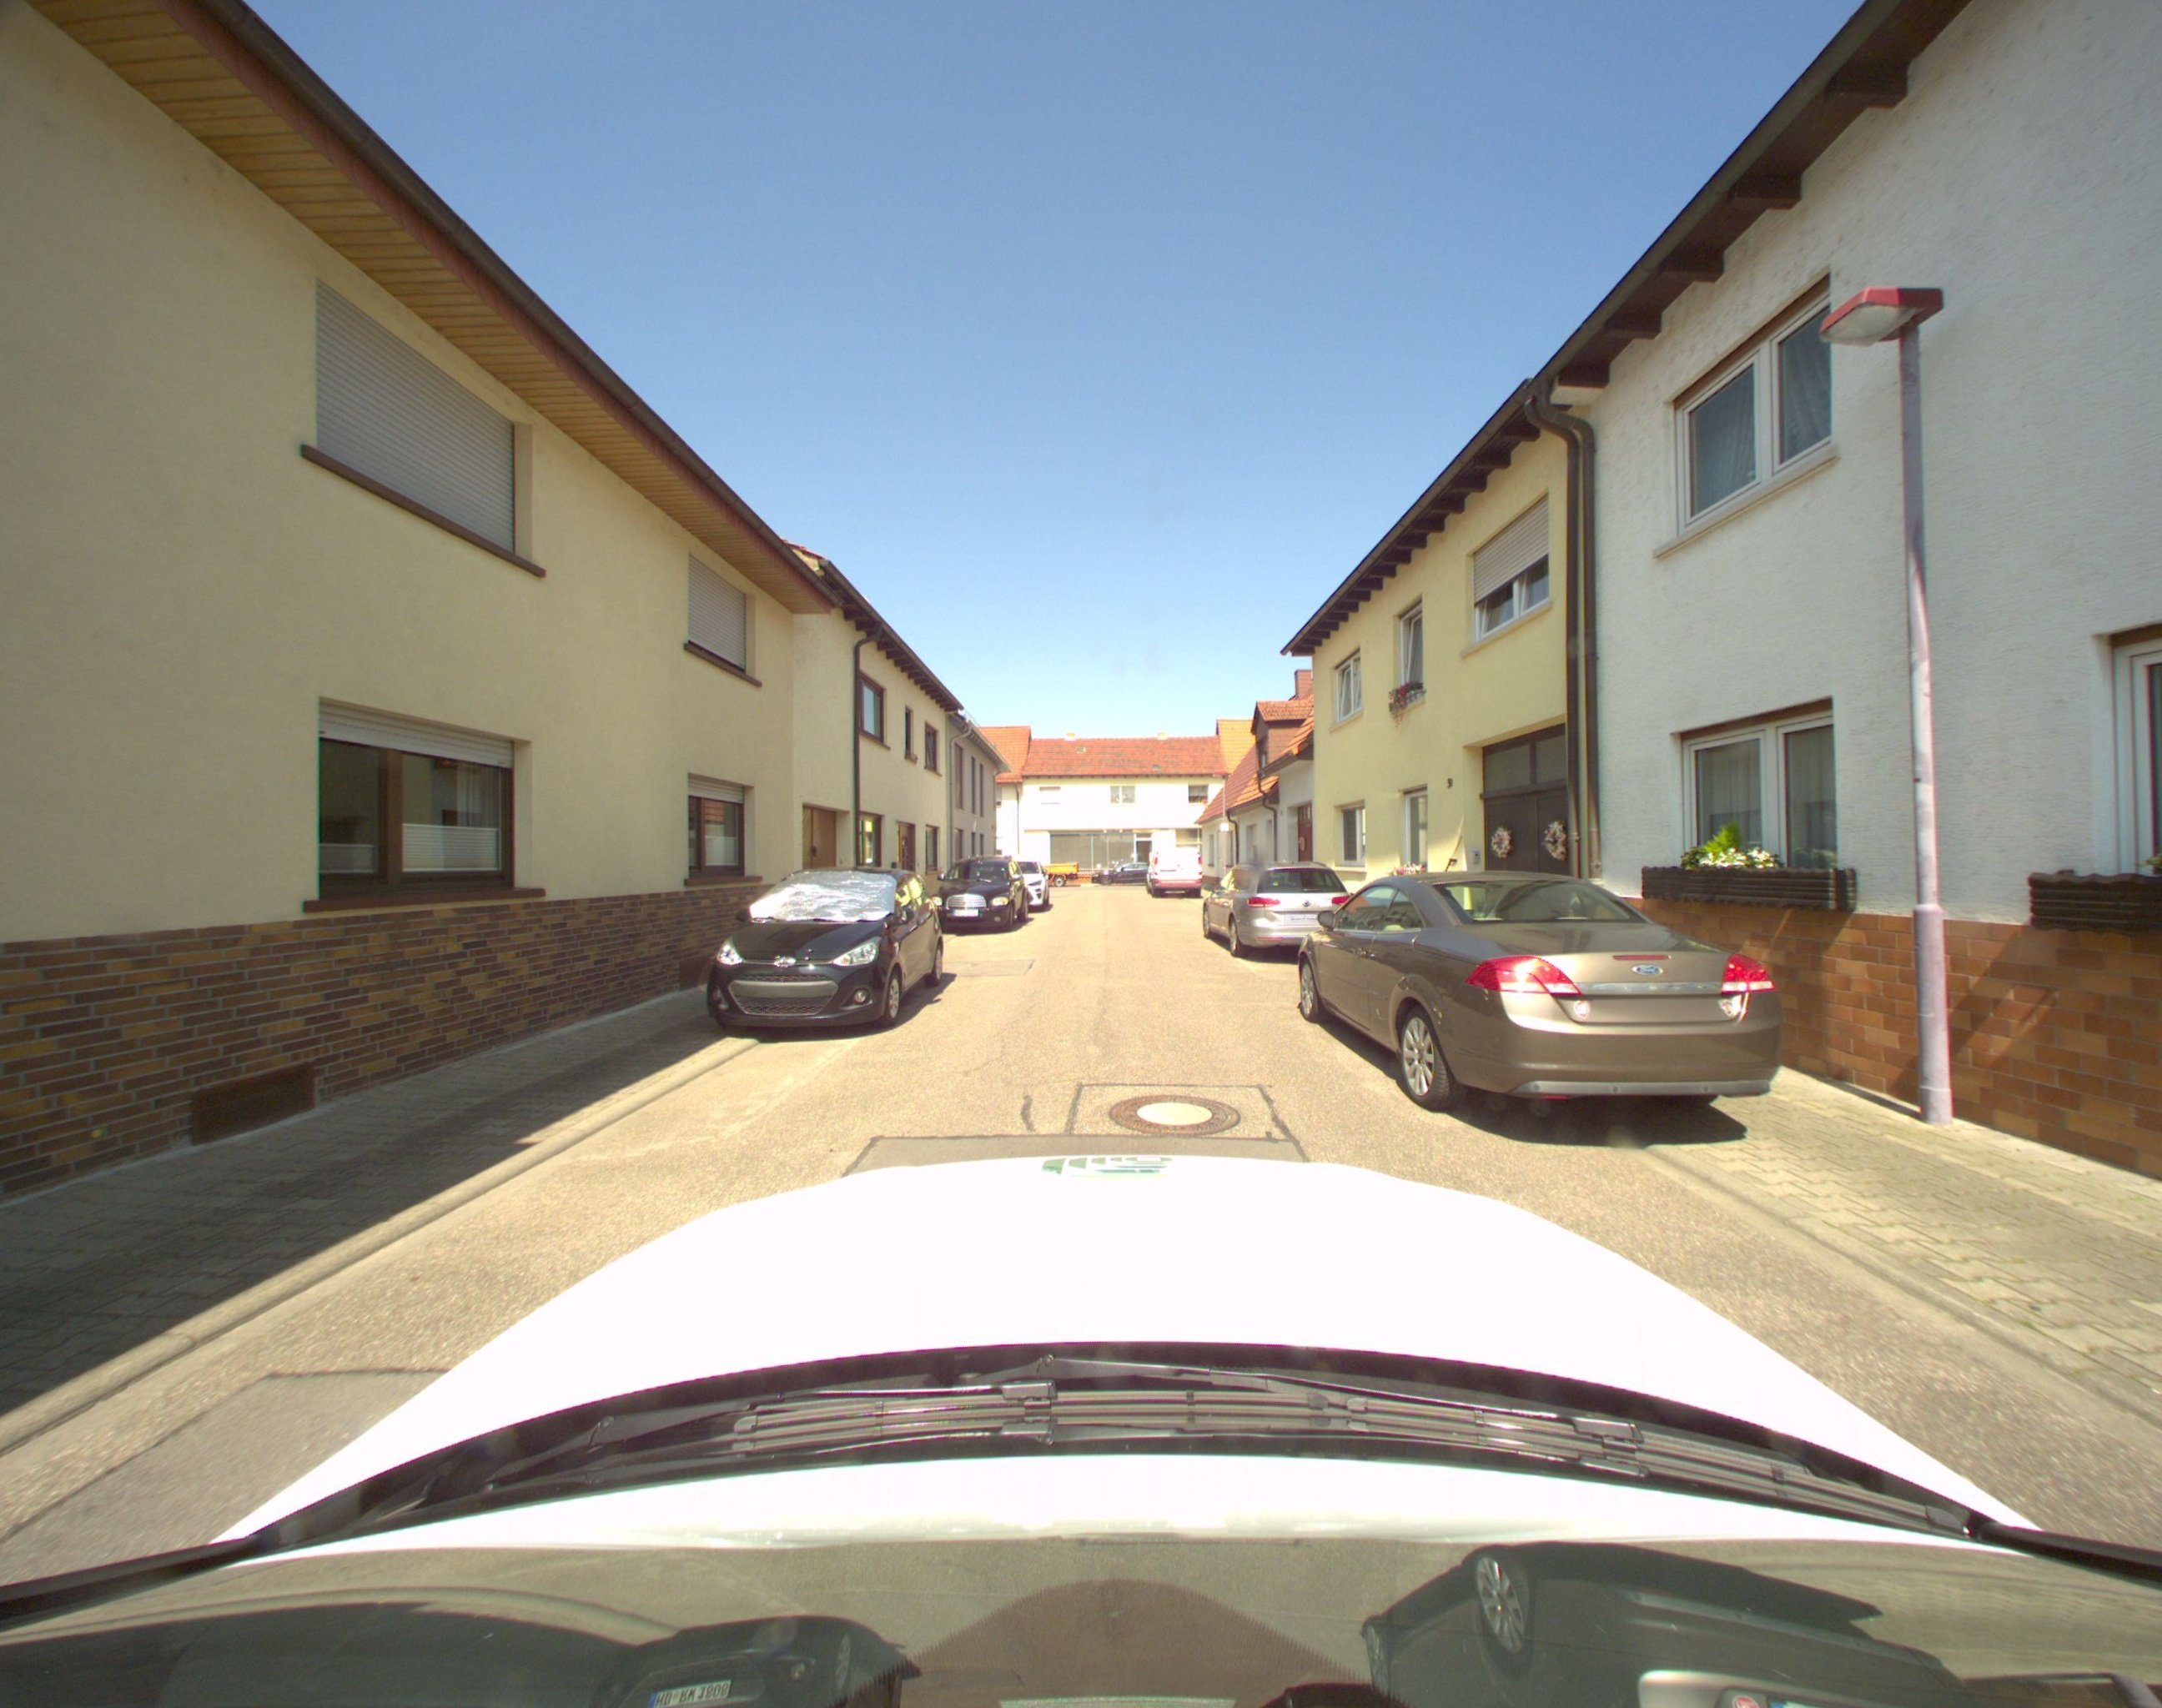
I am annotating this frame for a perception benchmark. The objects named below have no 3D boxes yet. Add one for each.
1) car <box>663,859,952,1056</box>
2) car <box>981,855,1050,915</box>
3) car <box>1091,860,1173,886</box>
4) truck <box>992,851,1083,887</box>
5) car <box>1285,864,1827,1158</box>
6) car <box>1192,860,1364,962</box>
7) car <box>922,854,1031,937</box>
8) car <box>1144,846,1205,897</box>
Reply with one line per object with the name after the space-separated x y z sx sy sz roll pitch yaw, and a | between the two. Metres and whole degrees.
-2.523 0.853 8.546 1.635 1.537 3.942 -2 -1 0 | car
-1.909 0.873 24.840 1.769 1.615 4.347 -2 -1 -1 | car
2.900 1.089 46.919 4.602 1.394 1.927 0 -4 0 | car
-2.472 0.858 46.947 5.045 2.014 2.190 0 -1 1 | truck
2.864 0.803 6.079 1.691 1.435 4.102 0 -1 0 | car
3.135 0.829 13.966 1.832 1.448 4.775 0 -1 0 | car
-2.228 0.851 18.399 1.715 1.615 3.992 -2 -1 3 | car
3.633 0.670 32.559 2.005 1.839 5.266 0 -1 1 | car
